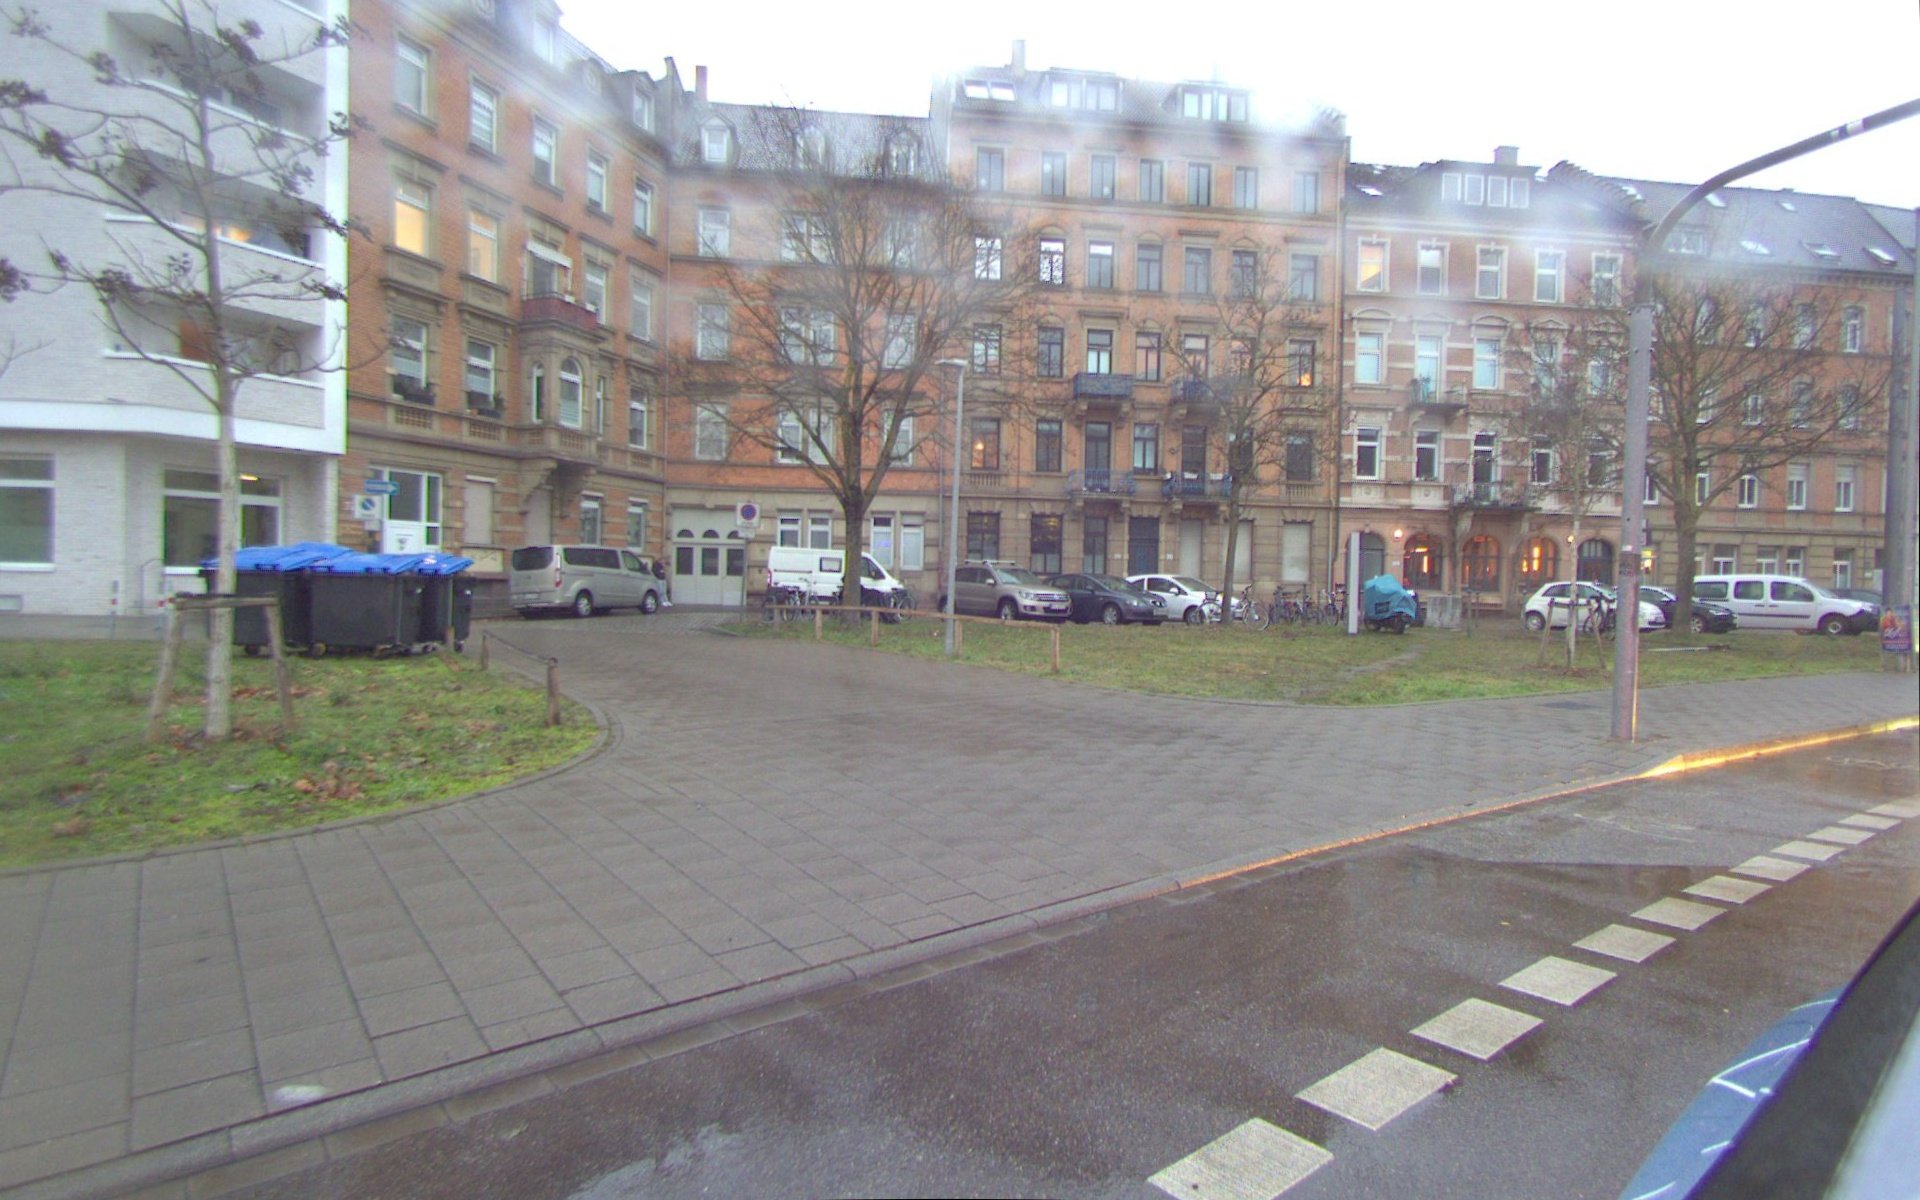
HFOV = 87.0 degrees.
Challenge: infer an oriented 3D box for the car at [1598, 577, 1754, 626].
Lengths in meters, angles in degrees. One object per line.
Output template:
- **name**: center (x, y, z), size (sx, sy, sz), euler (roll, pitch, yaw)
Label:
- **car**: center (20.972, 0.024, 29.738), size (1.634, 1.368, 3.430), euler (1, 0, -39)

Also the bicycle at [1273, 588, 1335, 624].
- **bicycle**: center (9.934, 0.158, 29.334), size (0.613, 0.978, 2.175), euler (3, -1, -13)

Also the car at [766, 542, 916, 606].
- **car**: center (-4.061, -0.905, 34.532), size (4.885, 2.038, 2.004), euler (1, 2, -7)

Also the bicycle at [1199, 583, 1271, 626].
- **bicycle**: center (6.625, 0.104, 24.418), size (1.628, 0.948, 0.512), euler (2, 1, 15)

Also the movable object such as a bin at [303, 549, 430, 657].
- **movable object such as a bin**: center (-8.296, 0.019, 14.205), size (1.200, 1.433, 1.018), euler (1, 2, -3)

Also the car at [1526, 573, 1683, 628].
- **car**: center (18.406, 0.015, 29.022), size (1.583, 1.461, 3.467), euler (1, 0, -34)

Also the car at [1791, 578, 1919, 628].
- **car**: center (27.069, 0.108, 29.465), size (1.737, 1.250, 4.066), euler (2, 3, -35)

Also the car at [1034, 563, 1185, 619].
- **car**: center (3.877, -0.229, 26.667), size (1.649, 1.372, 3.737), euler (2, 0, -42)

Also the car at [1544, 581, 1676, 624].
- **car**: center (24.215, 0.102, 37.750), size (3.967, 1.520, 1.740), euler (1, -1, -9)

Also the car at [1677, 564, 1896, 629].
- **car**: center (24.091, -0.172, 29.677), size (1.745, 1.611, 4.663), euler (0, 3, -37)

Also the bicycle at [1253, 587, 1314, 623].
- **bicycle**: center (9.311, 0.134, 29.205), size (0.613, 0.978, 2.175), euler (3, -1, -13)

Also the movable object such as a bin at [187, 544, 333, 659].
- **movable object such as a bin**: center (-9.638, 0.006, 13.990), size (1.304, 1.514, 1.031), euler (1, 1, 0)

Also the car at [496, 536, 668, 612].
- **car**: center (-10.526, -0.628, 28.625), size (1.976, 1.943, 4.715), euler (-1, -1, 21)

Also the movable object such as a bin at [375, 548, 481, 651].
- **movable object such as a bin**: center (-8.025, -0.001, 15.322), size (1.022, 1.509, 1.035), euler (0, -1, 6)

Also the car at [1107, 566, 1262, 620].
- **car**: center (6.034, -0.215, 27.519), size (1.669, 1.353, 3.852), euler (0, 1, -42)

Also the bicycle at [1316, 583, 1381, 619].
- **bicycle**: center (11.235, 0.015, 29.350), size (0.613, 0.978, 2.176), euler (1, 2, -13)

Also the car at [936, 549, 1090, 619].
- **car**: center (1.305, -0.481, 26.477), size (1.908, 1.656, 3.999), euler (-1, 3, -37)
